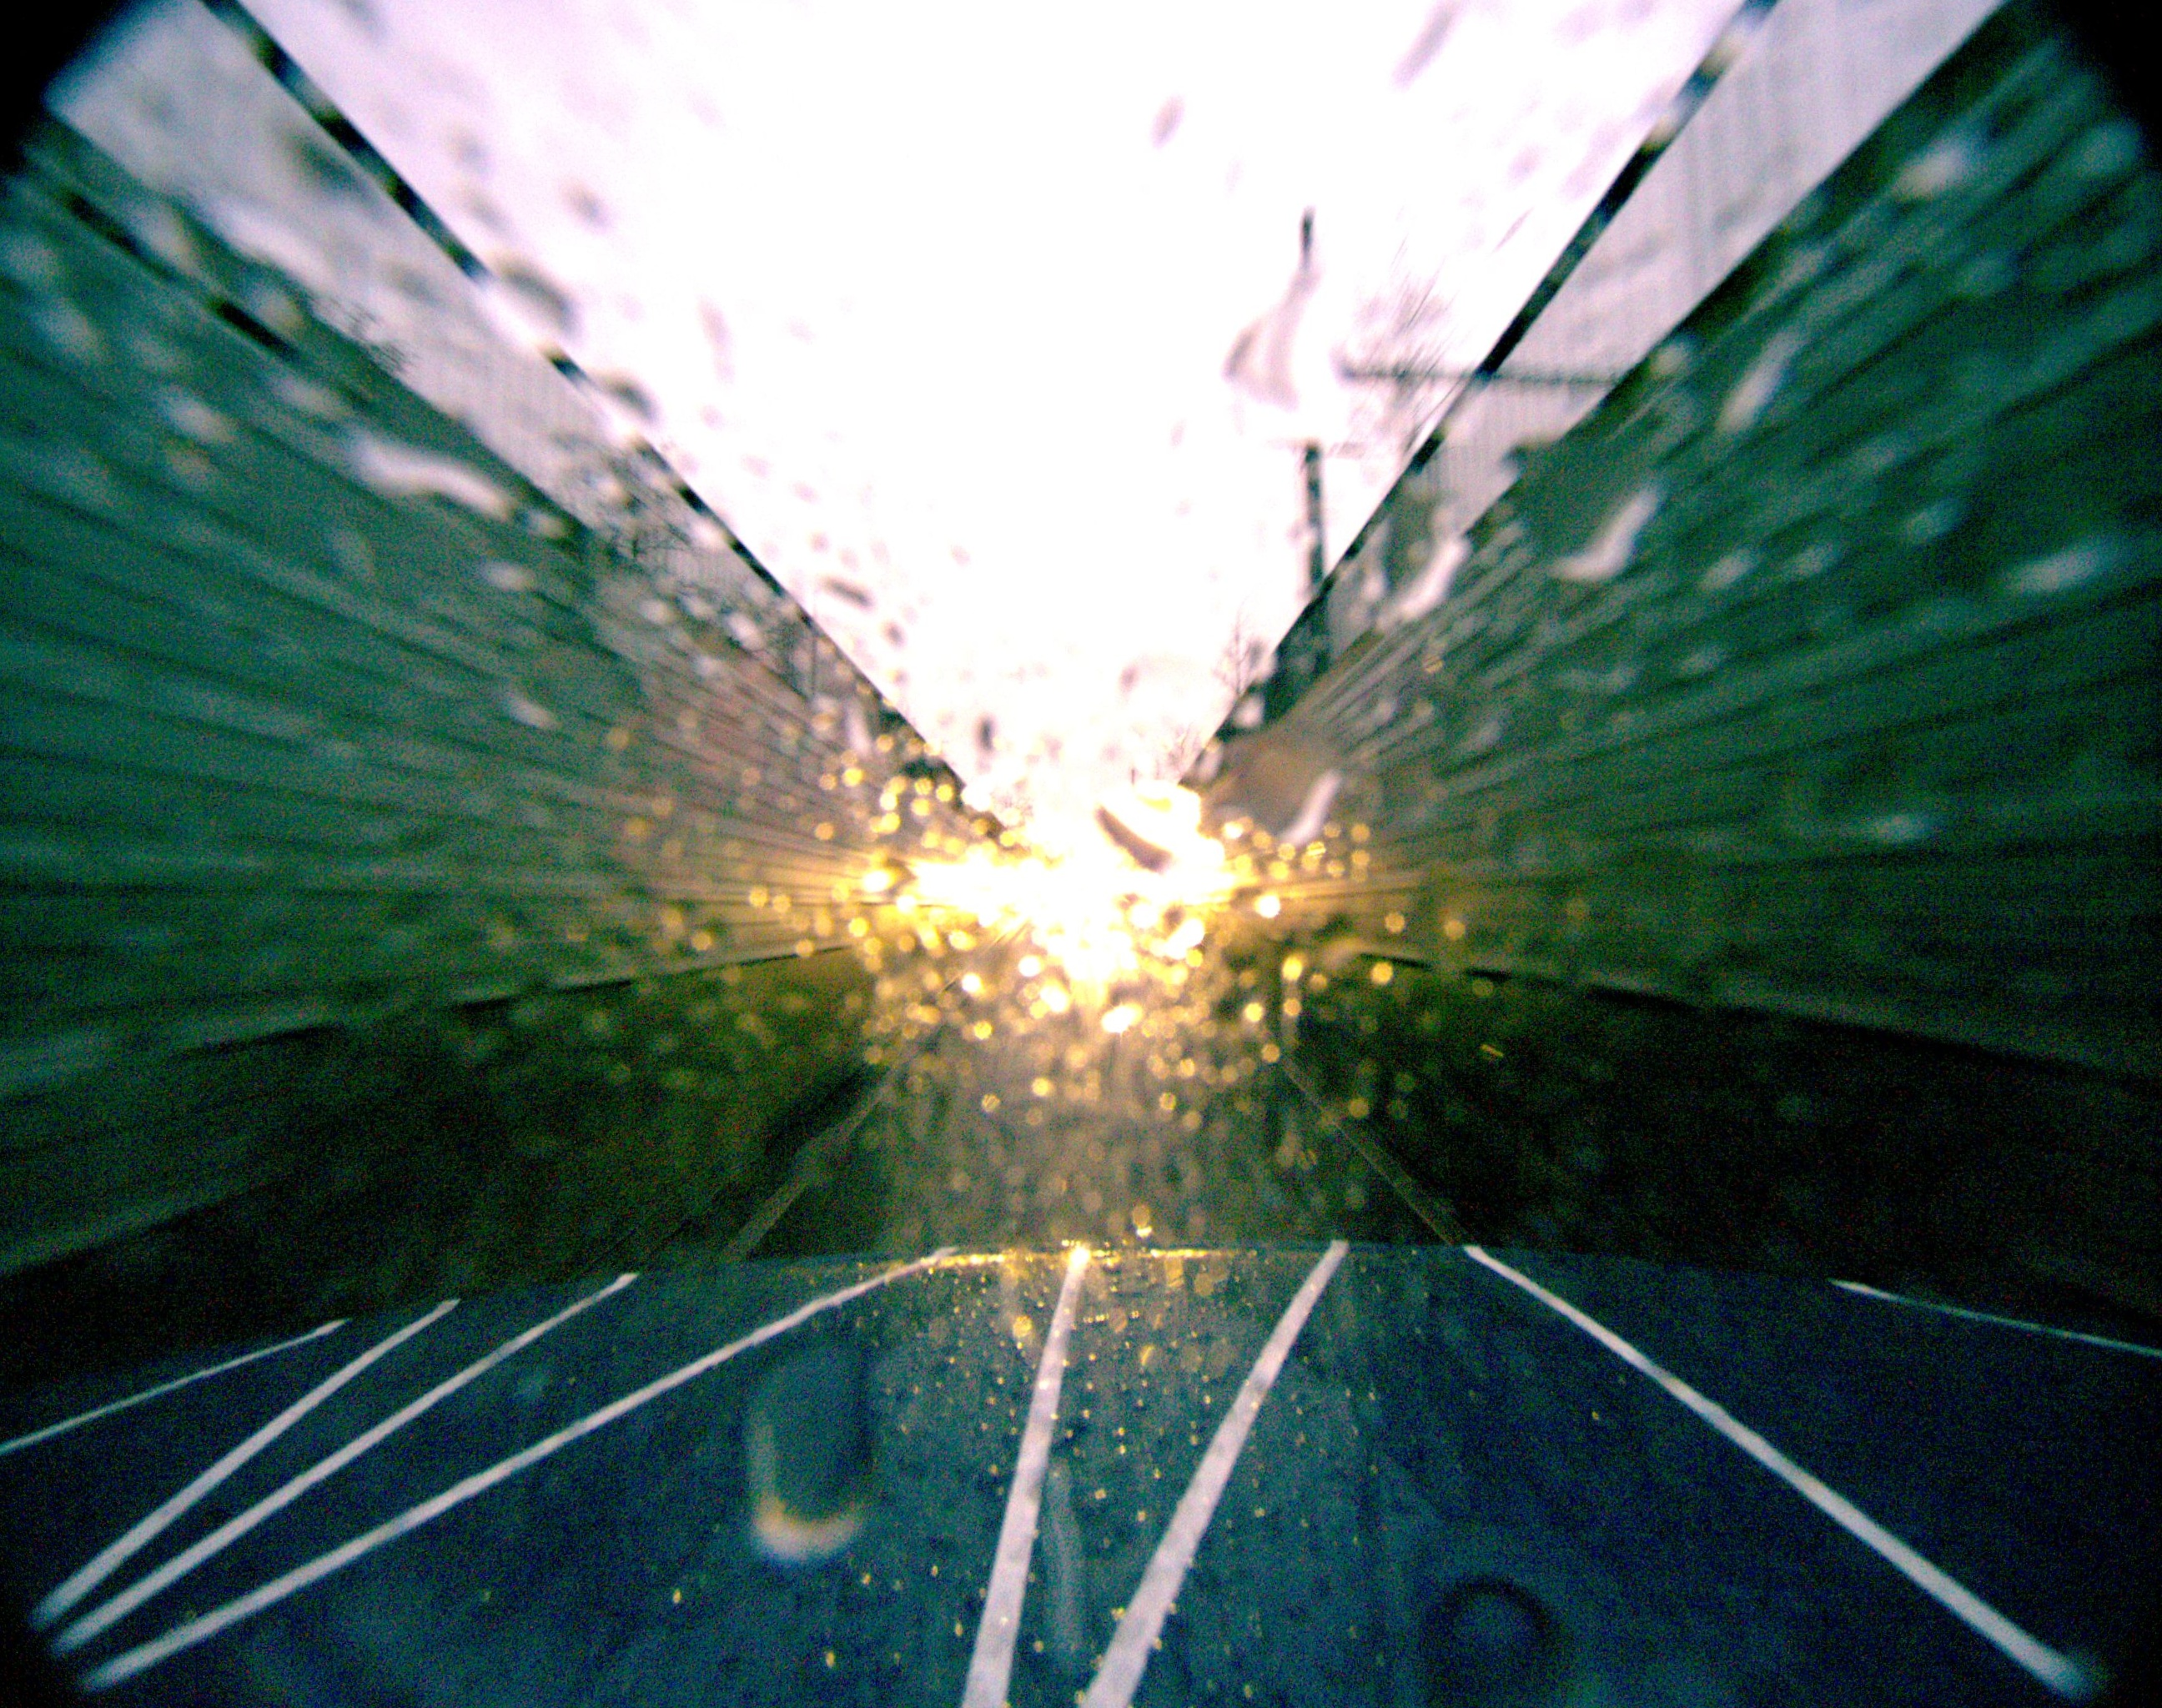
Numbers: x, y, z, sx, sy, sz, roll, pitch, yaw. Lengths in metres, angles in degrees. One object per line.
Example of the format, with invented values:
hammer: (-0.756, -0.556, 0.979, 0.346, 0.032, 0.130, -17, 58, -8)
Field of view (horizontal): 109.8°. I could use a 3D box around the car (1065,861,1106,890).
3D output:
car: (0.296, 1.247, 42.131, 2.160, 1.488, 4.010, -1, -3, 1)
